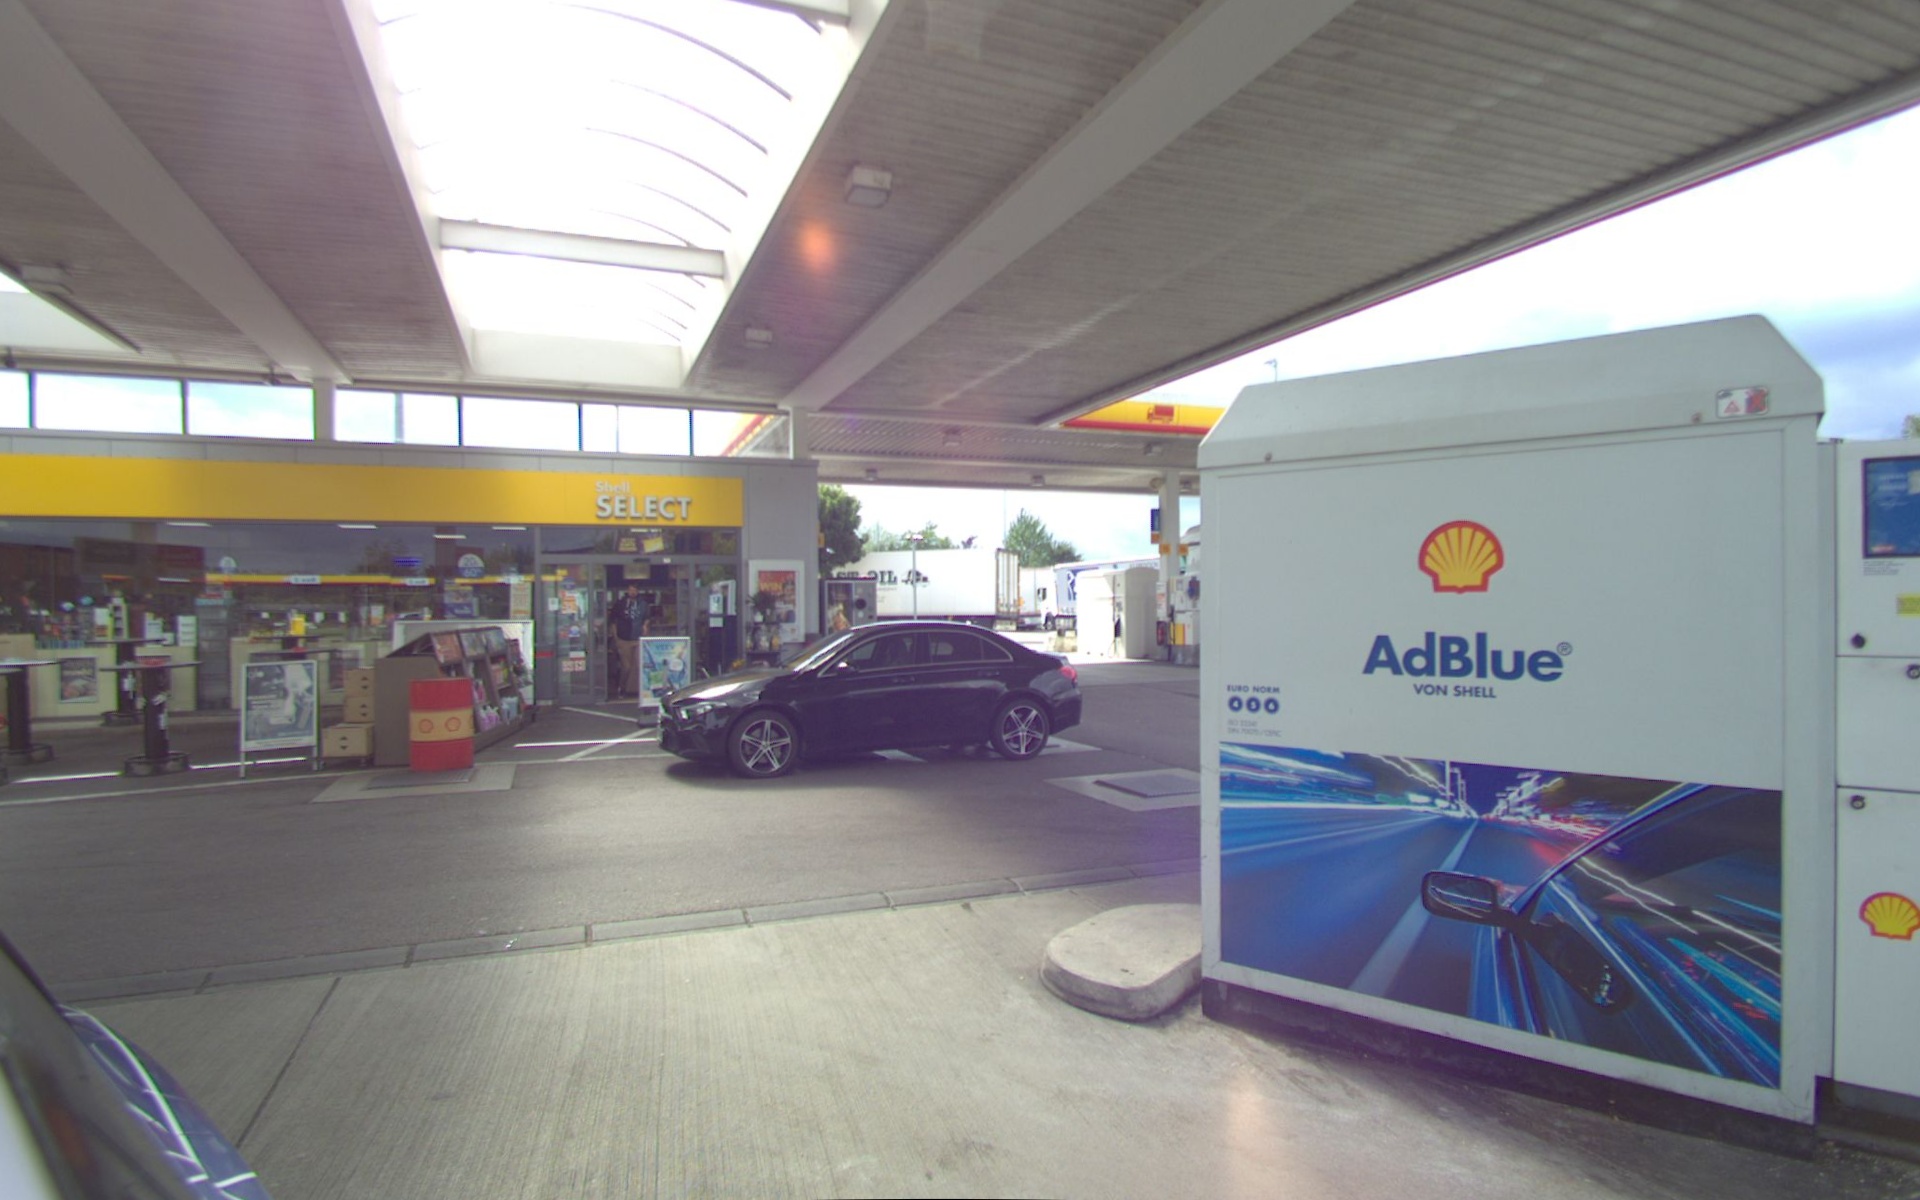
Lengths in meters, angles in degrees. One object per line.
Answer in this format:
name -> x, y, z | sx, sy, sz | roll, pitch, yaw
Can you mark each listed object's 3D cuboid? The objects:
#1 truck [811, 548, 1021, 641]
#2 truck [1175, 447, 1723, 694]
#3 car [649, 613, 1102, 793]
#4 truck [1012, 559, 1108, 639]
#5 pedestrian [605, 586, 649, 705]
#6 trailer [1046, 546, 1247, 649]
truck -> -2.105, -0.191, 46.845 | 9.536, 4.036, 2.772 | -1, 0, 25
truck -> 9.654, -0.471, 23.107 | 2.491, 4.069, 12.947 | -1, 0, -22
car -> -0.897, 0.938, 10.634 | 4.394, 1.511, 1.785 | -1, 0, -21
truck -> 5.925, -0.063, 61.227 | 3.333, 4.538, 6.249 | -1, 0, -20
pedestrian -> -5.497, 0.732, 16.688 | 0.571, 1.920, 0.511 | -1, 0, -31
trailer -> 9.103, -0.112, 52.679 | 3.294, 4.600, 14.397 | -1, 0, -20
